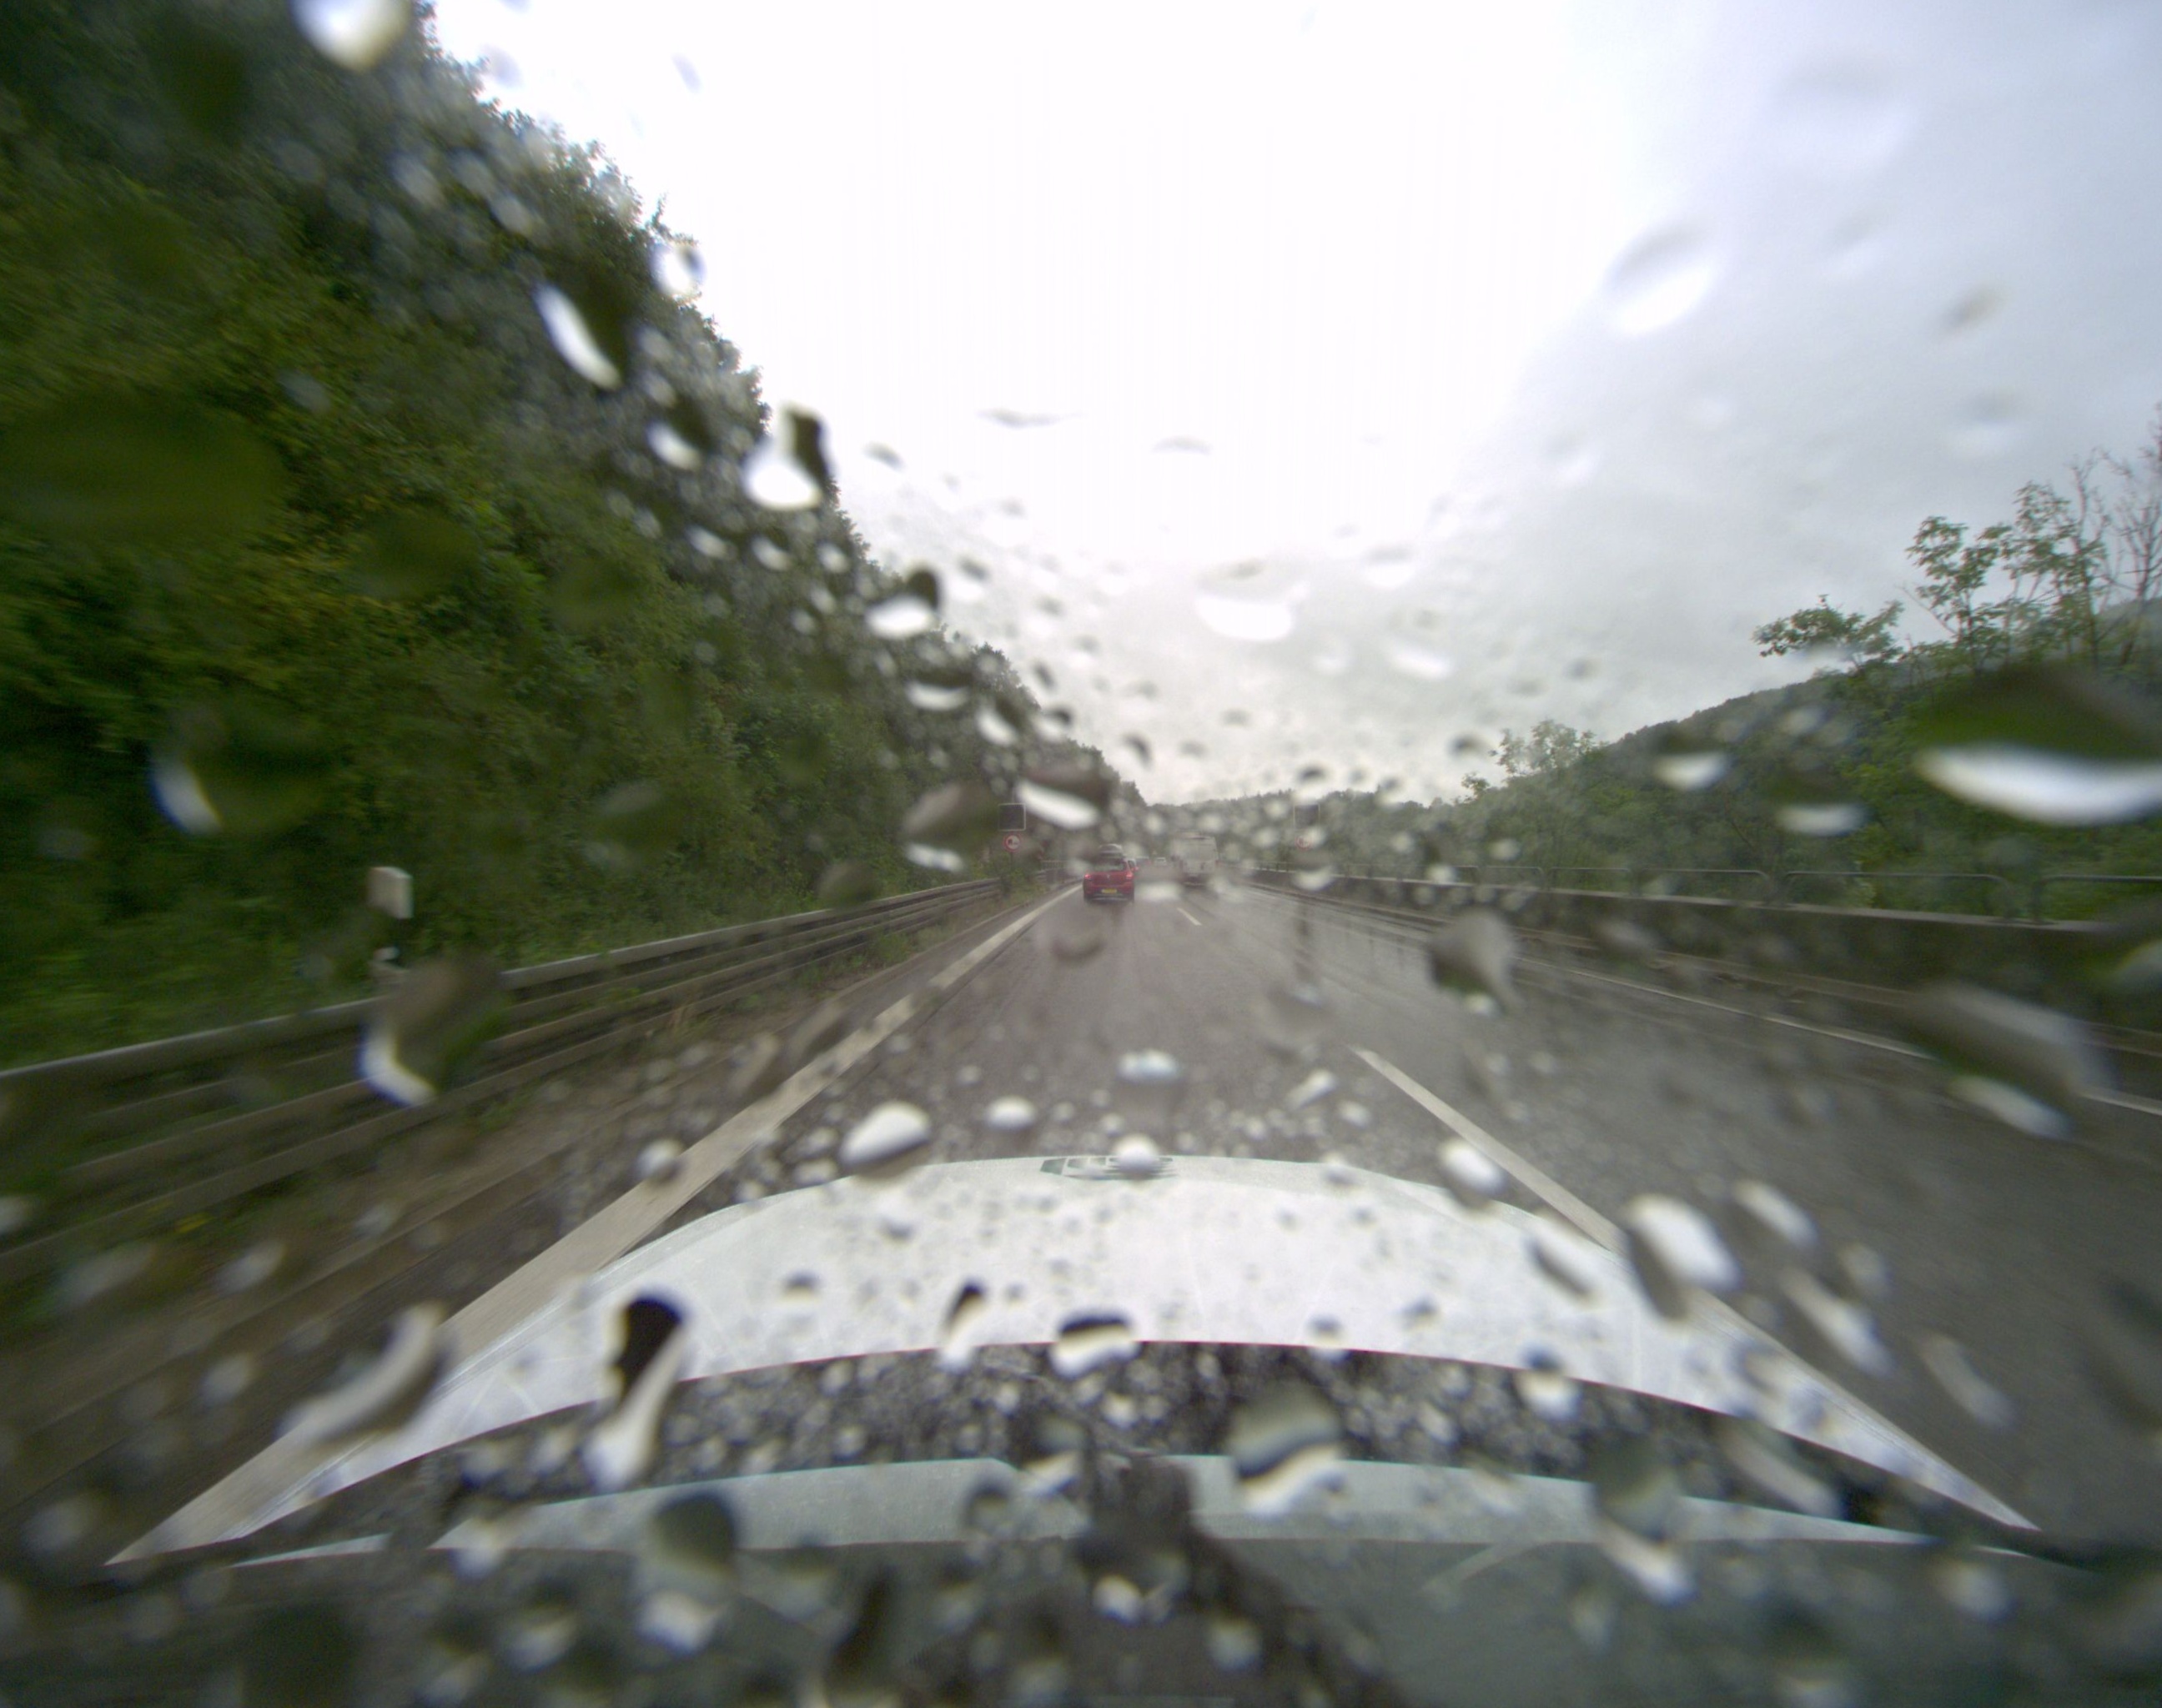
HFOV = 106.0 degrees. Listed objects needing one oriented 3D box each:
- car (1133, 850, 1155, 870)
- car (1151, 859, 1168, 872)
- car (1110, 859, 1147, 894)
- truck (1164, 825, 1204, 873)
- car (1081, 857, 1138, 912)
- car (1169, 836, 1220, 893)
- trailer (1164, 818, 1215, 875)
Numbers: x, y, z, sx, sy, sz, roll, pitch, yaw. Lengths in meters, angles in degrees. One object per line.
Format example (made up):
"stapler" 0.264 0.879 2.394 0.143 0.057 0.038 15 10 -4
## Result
"car" 6.079 0.585 78.239 1.866 1.706 3.894 -4 -1 5
"car" 10.550 1.548 109.607 1.982 1.639 4.009 -4 -1 8
"car" 2.575 1.210 44.023 1.825 1.715 3.648 -4 -1 3
"truck" 9.065 -0.393 72.181 3.204 3.978 5.446 -1 -1 5
"car" 1.000 1.007 28.414 1.751 1.684 4.001 -4 -1 2
"car" 6.006 0.535 43.930 2.196 2.794 7.389 0 0 4
"trailer" 8.464 -0.463 65.103 3.203 3.999 13.540 -1 -1 5
